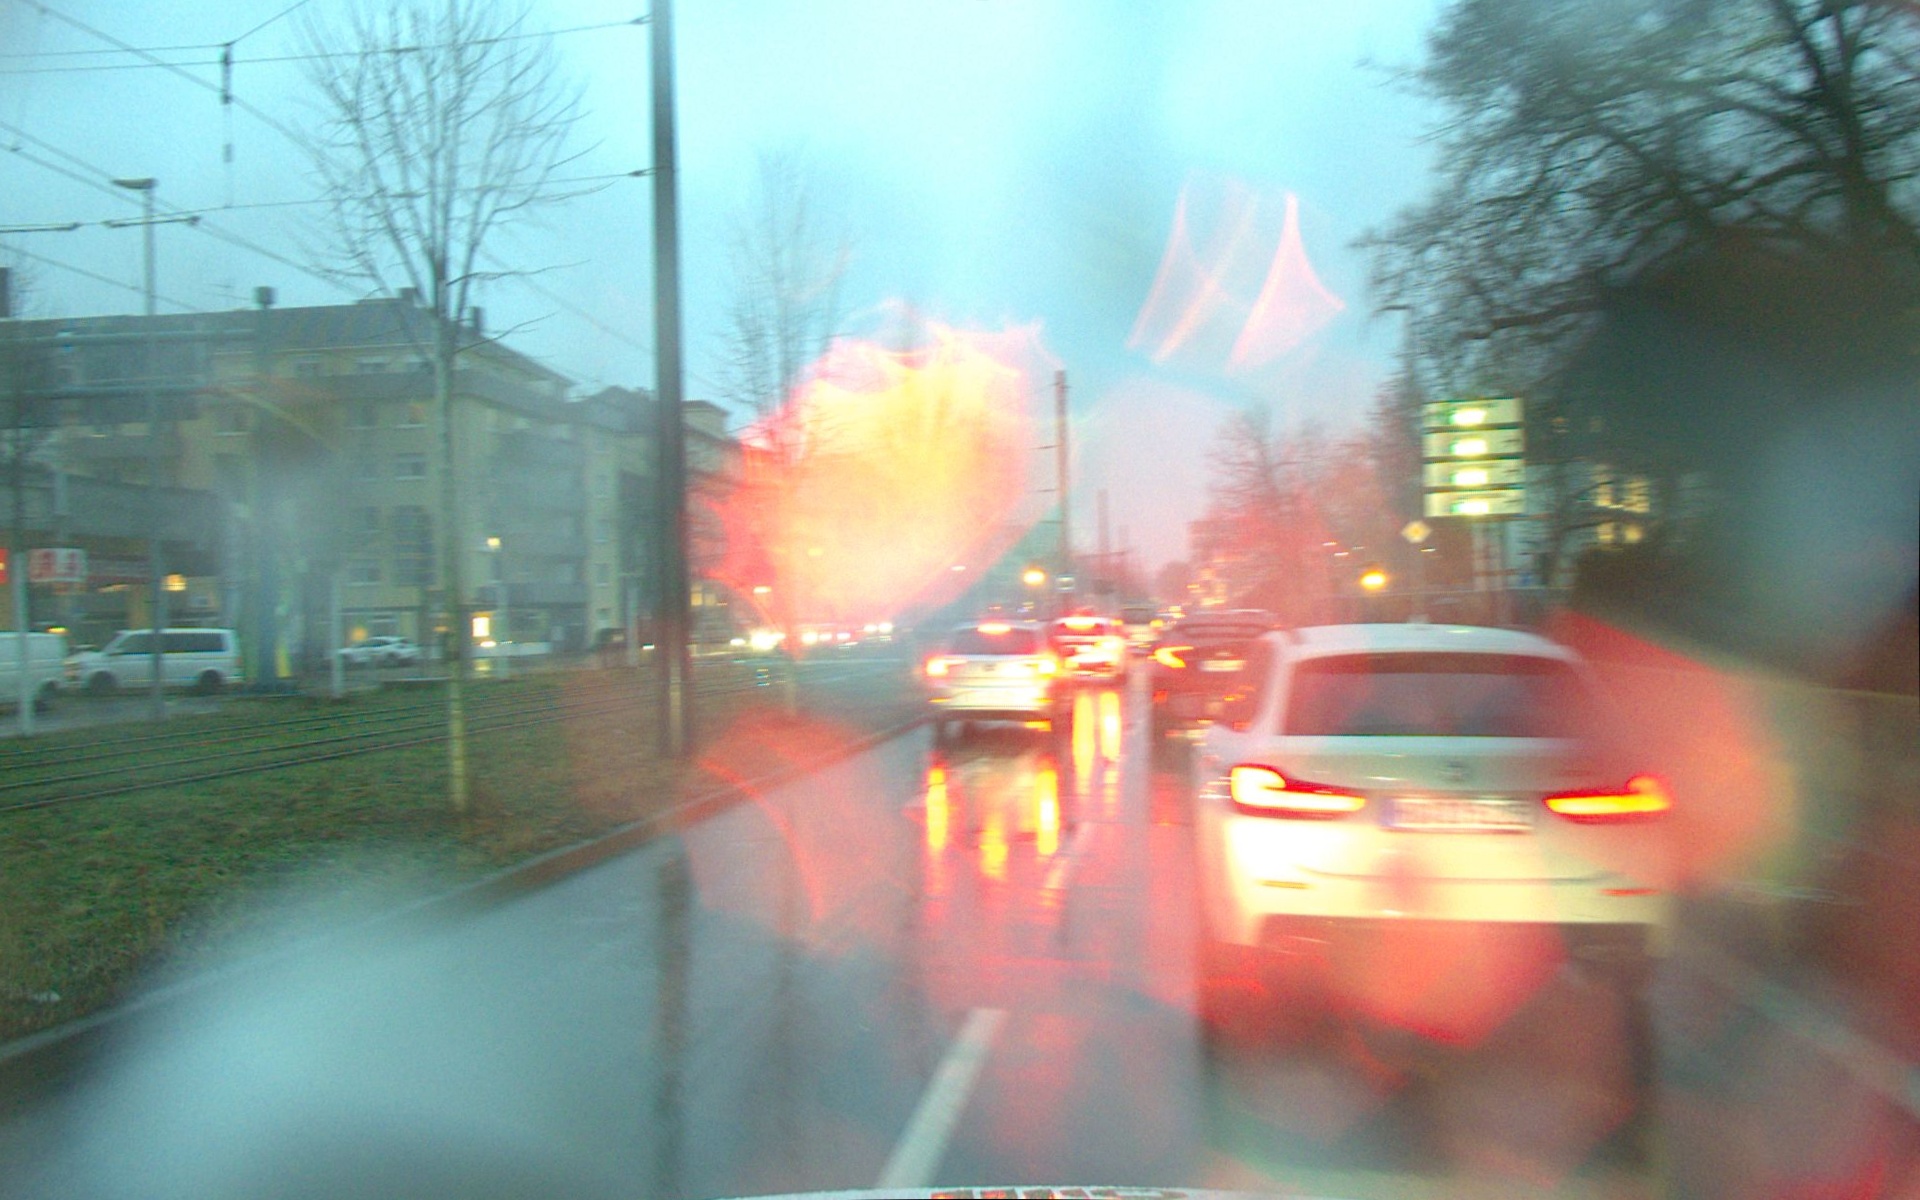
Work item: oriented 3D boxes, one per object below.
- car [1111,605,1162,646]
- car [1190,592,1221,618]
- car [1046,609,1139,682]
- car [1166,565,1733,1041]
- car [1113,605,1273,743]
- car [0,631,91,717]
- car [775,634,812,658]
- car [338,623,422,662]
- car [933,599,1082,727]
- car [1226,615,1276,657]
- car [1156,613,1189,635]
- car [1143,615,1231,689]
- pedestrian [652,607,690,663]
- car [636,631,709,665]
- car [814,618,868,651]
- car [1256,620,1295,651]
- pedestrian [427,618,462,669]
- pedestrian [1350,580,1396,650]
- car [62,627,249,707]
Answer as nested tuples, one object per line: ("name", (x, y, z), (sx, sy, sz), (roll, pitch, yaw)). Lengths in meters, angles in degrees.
("car", (6.707, 0.928, 62.538), (1.700, 1.444, 4.397), (-2, -1, 8))
("car", (14.635, 0.322, 98.649), (1.700, 1.444, 4.149), (-2, -1, 8))
("car", (3.062, 0.976, 37.344), (1.760, 1.492, 4.589), (-2, -1, 8))
("car", (1.996, 0.716, 8.075), (1.823, 1.583, 4.942), (-2, -1, 8))
("car", (2.912, 0.867, 20.682), (1.761, 1.537, 3.898), (-1, -1, 8))
("car", (-24.234, 1.806, 40.627), (1.951, 2.081, 5.569), (0, -1, 13))
("car", (-9.889, 2.726, 98.460), (1.655, 1.300, 4.149), (-1, -1, 2))
("car", (-30.042, 2.177, 85.759), (3.671, 1.976, 1.842), (0, -1, 0))
("car", (0.724, 0.785, 22.203), (1.657, 1.560, 4.003), (0, 0, 7))
("car", (10.850, 1.328, 61.861), (1.700, 1.444, 3.706), (-2, -1, 8))
("car", (12.755, 1.441, 99.050), (1.889, 1.311, 4.003), (0, -1, 9))
("car", (4.754, 1.052, 34.509), (1.708, 1.458, 3.734), (0, -1, 9))
("pedestrian", (-10.753, 1.300, 61.617), (0.941, 2.049, 1.005), (-2, -1, 32))
("car", (-12.173, 2.025, 70.251), (1.819, 1.355, 4.318), (0, -1, 8))
("car", (-5.982, 1.728, 83.465), (1.951, 1.630, 4.003), (0, -1, 7))
("car", (15.738, 1.743, 82.586), (1.700, 1.444, 3.706), (-2, -1, 8))
("pedestrian", (-20.942, 1.762, 67.204), (1.248, 2.049, 1.003), (-1, -1, -16))
("pedestrian", (12.417, 0.456, 49.714), (0.942, 2.049, 1.004), (-1, -1, -14))
("car", (-24.186, 1.982, 49.803), (4.781, 2.283, 1.973), (1, -1, -38))
